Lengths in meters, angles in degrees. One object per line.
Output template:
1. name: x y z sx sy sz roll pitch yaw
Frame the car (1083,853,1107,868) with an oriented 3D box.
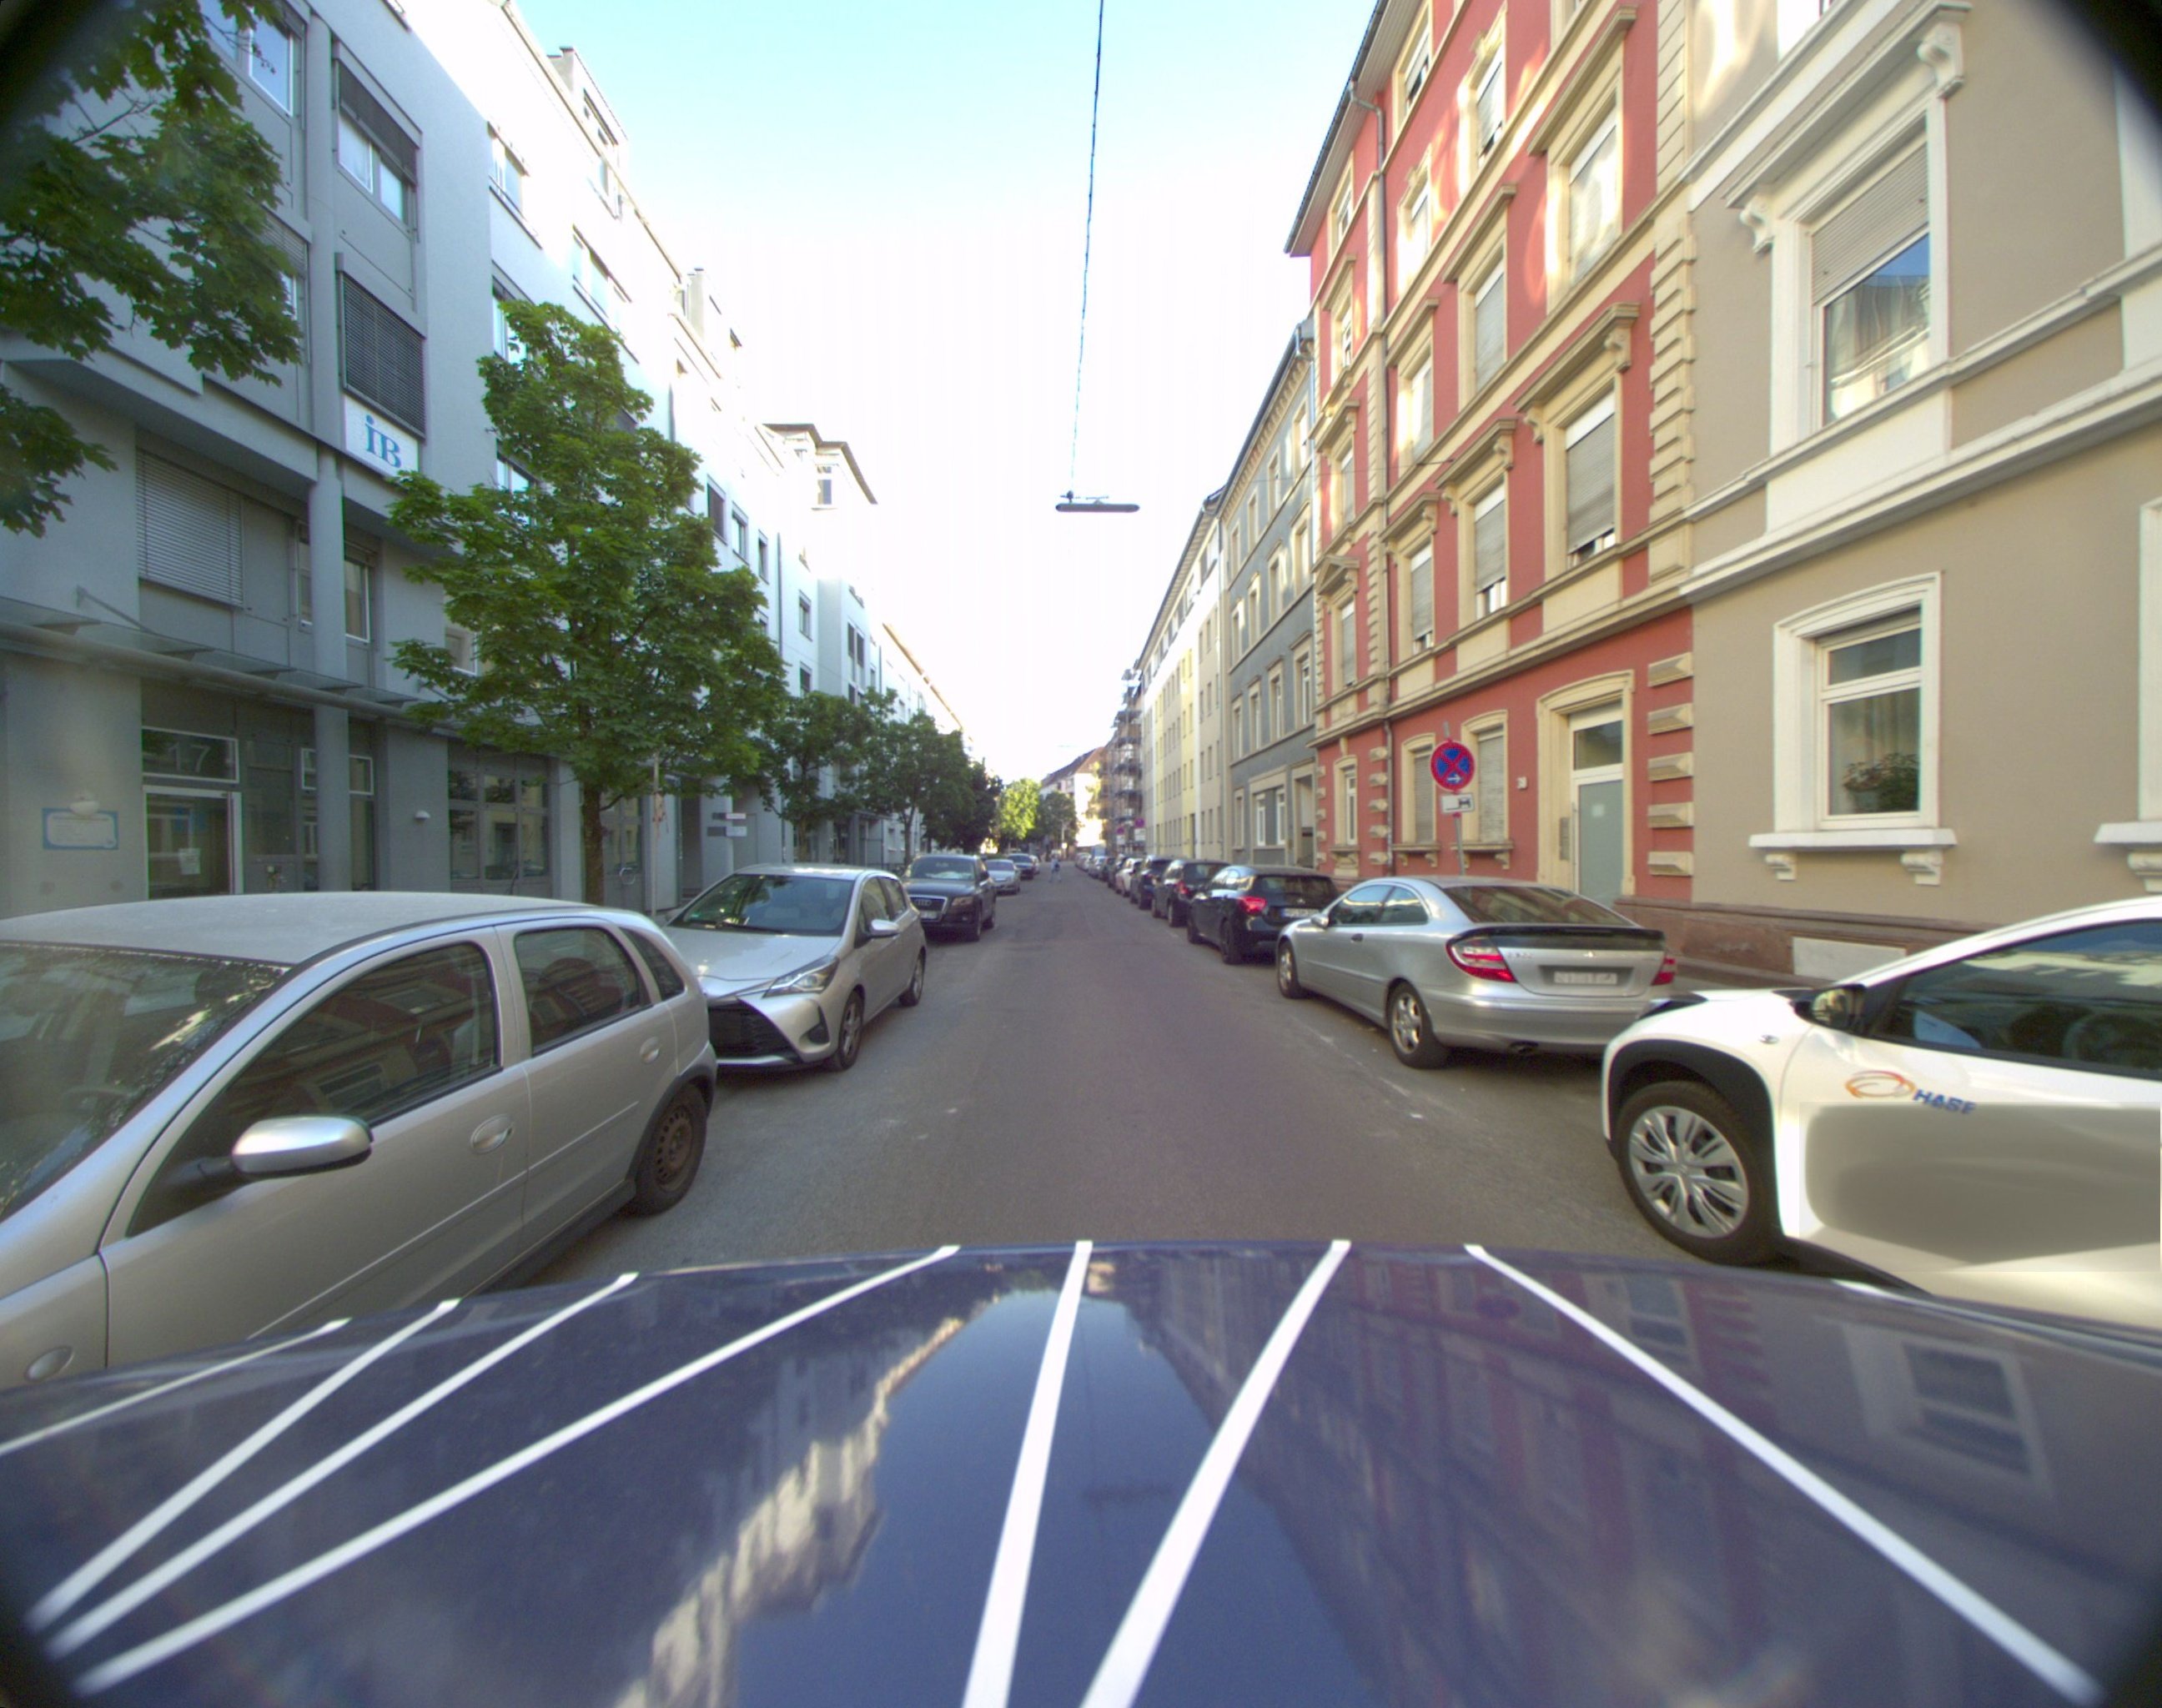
1. car: 1.296 0.614 73.759 1.999 1.439 3.998 1 0 -3

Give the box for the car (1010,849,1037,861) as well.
1. car: -9.451 0.163 125.558 4.215 1.760 2.081 1 1 0

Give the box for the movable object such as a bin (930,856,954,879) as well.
1. movable object such as a bin: -8.233 0.772 44.987 1.265 1.313 1.138 0 1 -2

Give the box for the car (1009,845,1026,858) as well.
1. car: -11.742 -0.448 140.153 2.163 2.270 6.199 1 0 -15

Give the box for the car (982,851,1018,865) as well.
1. car: -9.306 0.497 87.762 3.998 1.556 1.999 1 1 -4

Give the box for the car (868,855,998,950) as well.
1. car: -2.841 0.864 15.586 1.890 1.613 4.433 1 0 -2

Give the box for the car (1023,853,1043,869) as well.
1. car: -4.410 0.641 70.461 1.681 1.411 4.134 1 0 -2

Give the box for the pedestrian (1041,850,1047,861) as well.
1. pedestrian: -5.331 0.218 110.220 0.749 1.455 0.802 -2 1 -2

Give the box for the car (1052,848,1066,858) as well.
1. car: -3.815 -0.182 131.649 2.081 1.760 4.214 1 0 -8

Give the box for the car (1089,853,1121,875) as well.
1. car: 1.670 0.677 54.487 1.928 1.480 4.615 1 0 -3

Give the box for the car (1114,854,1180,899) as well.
1. car: 2.426 0.799 28.836 1.926 1.551 4.266 1 0 -3

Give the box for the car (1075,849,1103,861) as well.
1. car: 1.261 0.172 115.496 4.214 1.760 2.081 1 1 1

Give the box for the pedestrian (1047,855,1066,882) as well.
1. pedestrian: -1.342 0.776 42.121 0.869 1.455 0.803 1 1 13

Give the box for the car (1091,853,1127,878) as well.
1. car: 1.742 0.691 49.119 1.928 1.480 4.616 1 0 -2

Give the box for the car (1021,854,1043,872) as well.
1. car: -4.124 0.732 64.279 1.681 1.411 4.135 1 0 -2

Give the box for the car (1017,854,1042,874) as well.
1. car: -4.003 0.758 59.331 1.680 1.474 3.652 1 0 1

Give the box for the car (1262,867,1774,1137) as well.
1. car: 3.178 0.946 6.753 1.926 1.551 4.266 1 0 -3

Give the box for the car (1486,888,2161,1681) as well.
1. car: 3.168 0.951 1.952 1.925 1.498 4.267 1 0 0

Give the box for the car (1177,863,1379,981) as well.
1. car: 2.872 0.933 12.147 1.926 1.475 4.266 1 0 -3

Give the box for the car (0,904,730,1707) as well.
1. car: -2.602 1.002 1.868 1.680 1.467 3.729 1 0 1

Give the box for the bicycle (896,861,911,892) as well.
1. bicycle: -7.062 0.880 30.231 0.522 1.161 1.738 1 1 -12

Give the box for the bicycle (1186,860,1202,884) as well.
1. bicycle: 5.276 0.827 35.512 0.451 1.068 1.751 -2 1 -1

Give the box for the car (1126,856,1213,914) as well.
1. car: 2.555 0.855 22.935 1.926 1.551 4.266 1 0 -3

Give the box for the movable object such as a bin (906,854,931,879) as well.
1. movable object such as a bin: -9.532 0.712 44.695 1.265 1.428 1.138 0 1 -2

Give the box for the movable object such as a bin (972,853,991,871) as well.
1. movable object such as a bin: -7.781 0.612 59.446 1.288 1.428 1.223 0 1 -2

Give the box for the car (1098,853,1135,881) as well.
1. car: 2.036 0.718 44.270 1.784 1.480 4.419 1 0 -2

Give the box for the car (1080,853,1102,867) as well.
1. car: 1.049 0.621 79.068 1.999 1.423 3.998 1 0 -3

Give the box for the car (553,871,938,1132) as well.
1. car: -2.489 0.977 6.774 1.681 1.516 3.970 1 0 0

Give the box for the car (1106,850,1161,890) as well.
1. car: 2.298 0.689 34.213 1.926 1.654 4.467 1 0 -3

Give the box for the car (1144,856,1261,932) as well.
1. car: 2.745 0.859 18.120 1.906 1.551 4.239 1 0 -3

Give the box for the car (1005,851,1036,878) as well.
1. car: -3.824 0.646 48.728 1.876 1.626 4.720 1 0 -3

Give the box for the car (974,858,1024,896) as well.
1. car: -3.384 0.904 32.058 1.768 1.421 4.343 1 0 -2

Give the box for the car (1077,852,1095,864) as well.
1. car: 0.614 0.516 95.060 1.999 1.462 3.998 1 0 -3

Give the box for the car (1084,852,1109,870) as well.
1. car: 1.379 0.601 68.931 1.999 1.496 3.998 1 0 -3
